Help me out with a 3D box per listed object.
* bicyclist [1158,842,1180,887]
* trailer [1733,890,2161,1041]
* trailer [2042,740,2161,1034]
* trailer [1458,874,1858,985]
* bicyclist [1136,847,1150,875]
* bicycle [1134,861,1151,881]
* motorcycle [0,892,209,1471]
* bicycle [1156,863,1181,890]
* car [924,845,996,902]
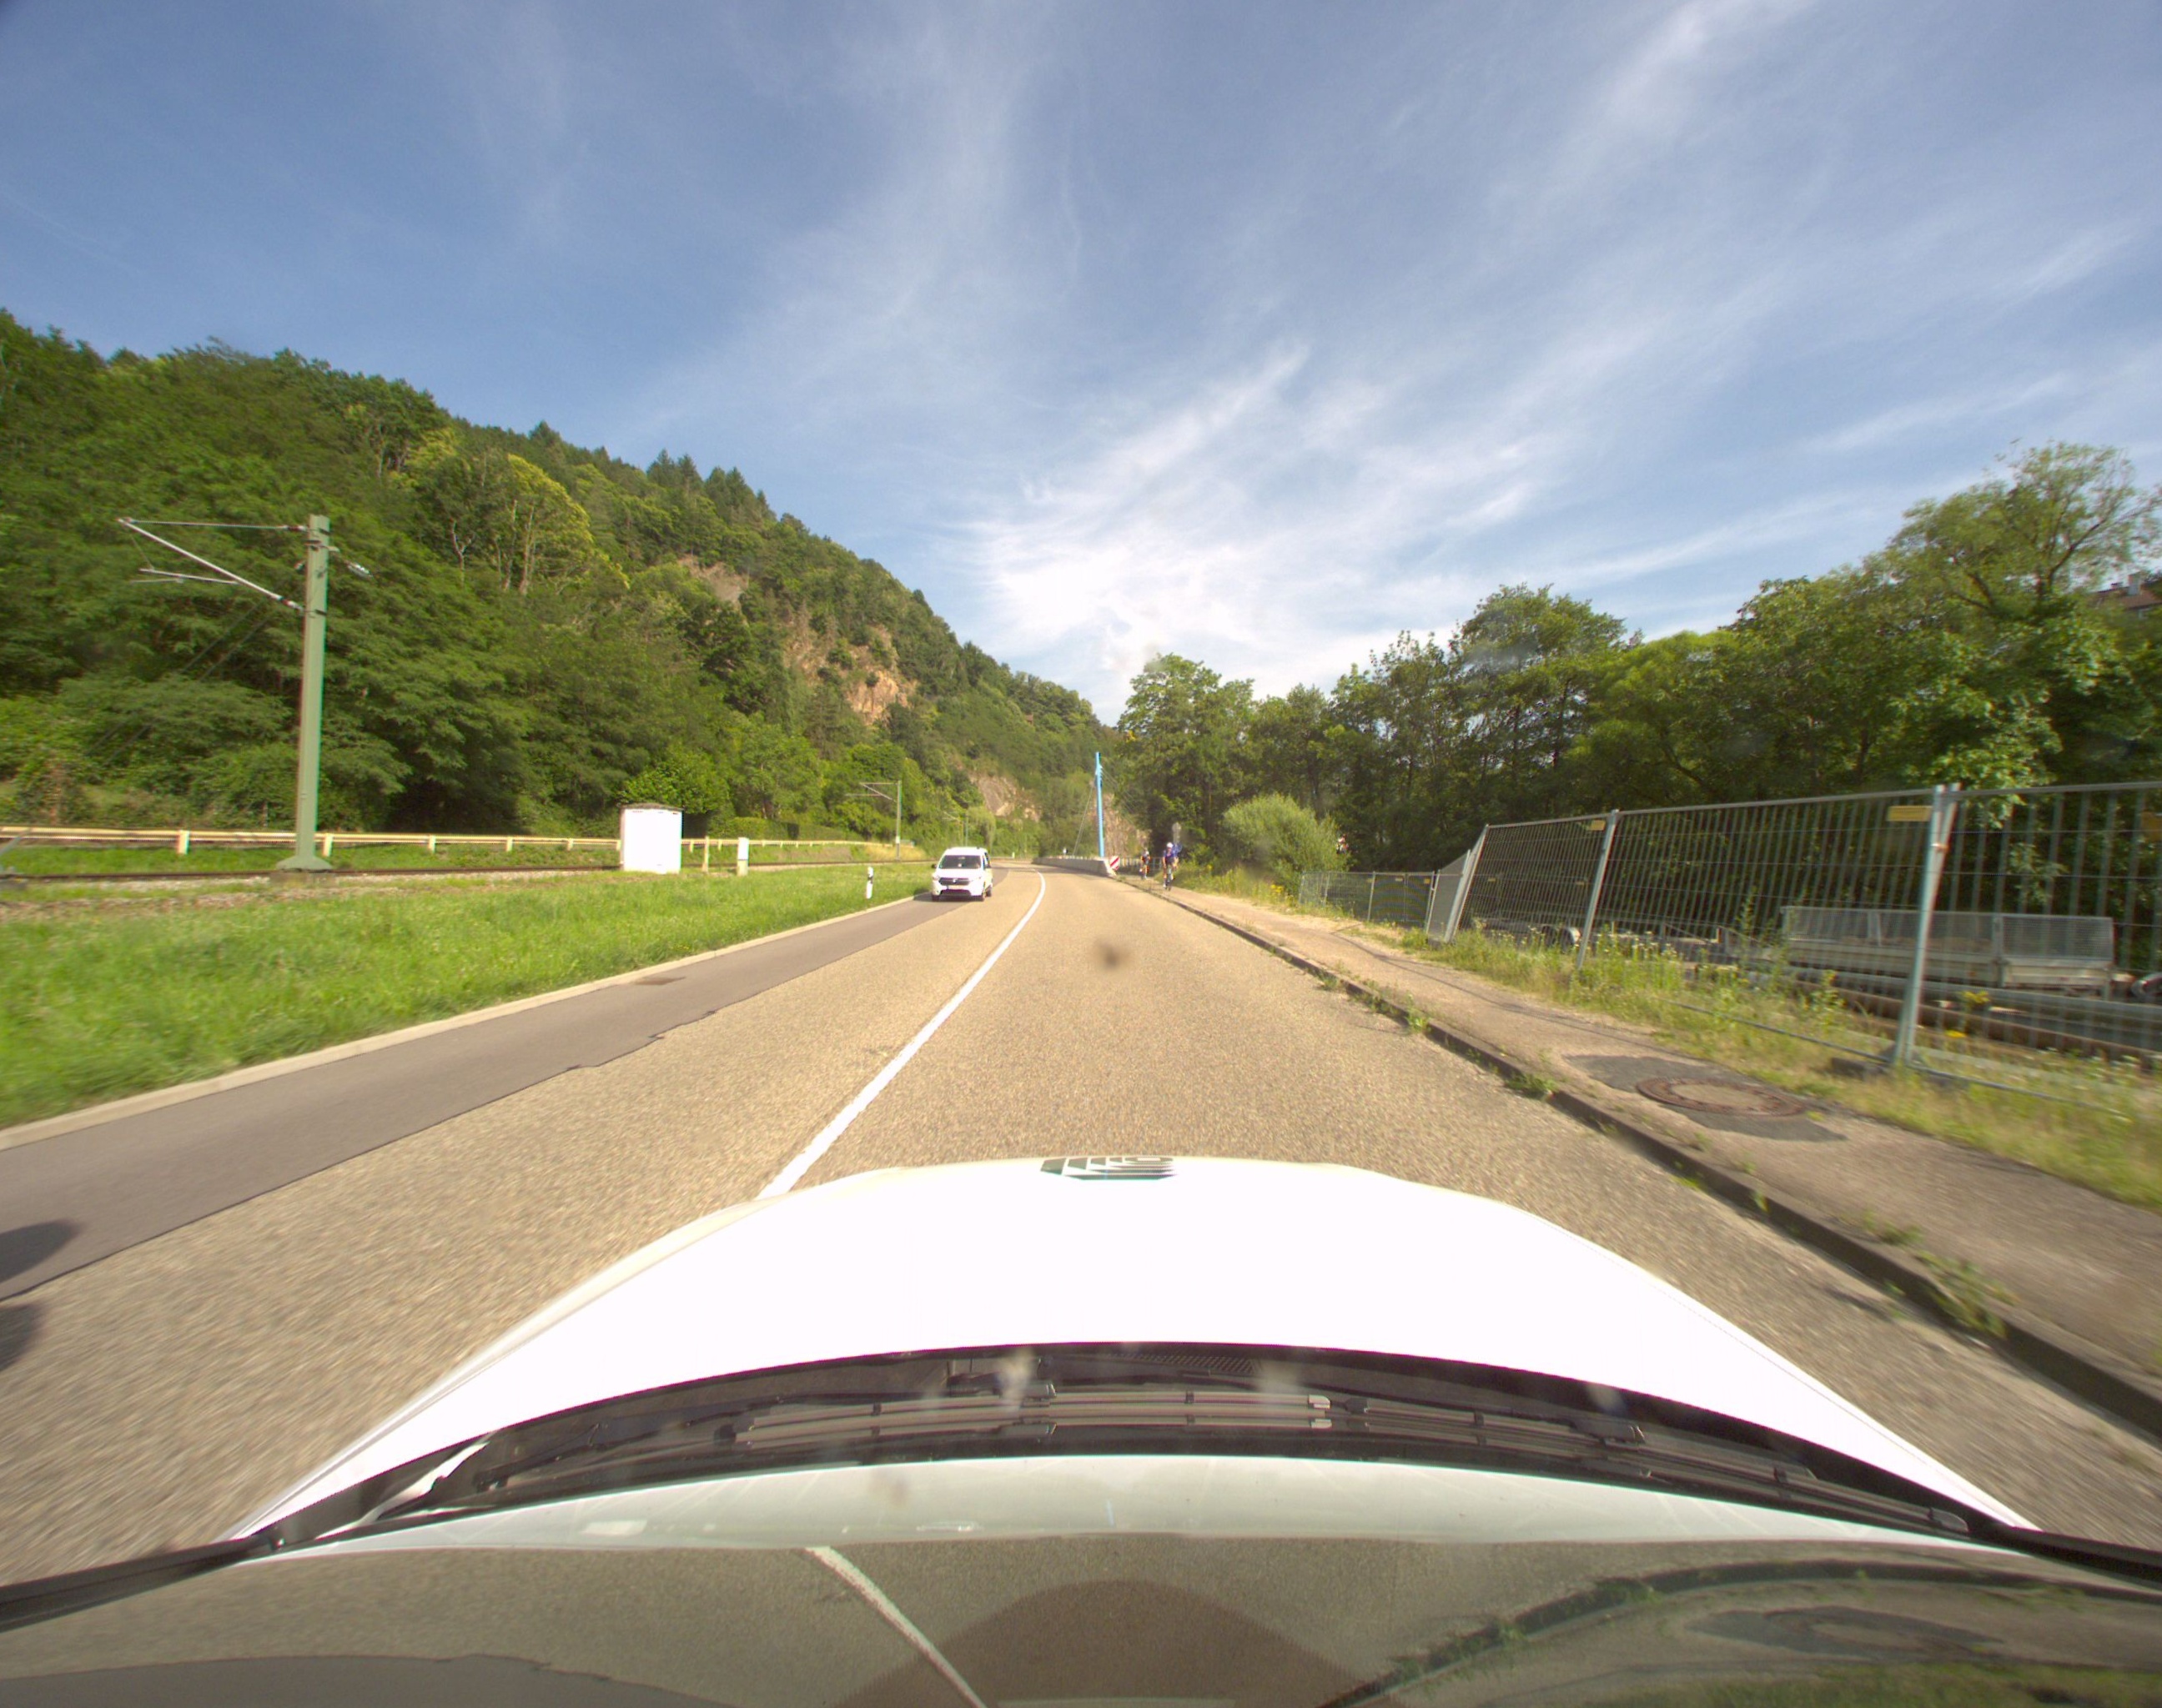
[{"bbox_3d":[3.361,0.390,31.245,0.639,1.654,0.807,3,0,-3],"label":"bicyclist"},{"bbox_3d":[13.677,1.603,13.257,2.051,1.823,4.783,2,-1,-5],"label":"trailer"},{"bbox_3d":[17.522,0.476,8.404,3.357,4.274,9.899,2,-1,-2],"label":"trailer"},{"bbox_3d":[14.084,1.637,21.845,2.382,2.014,11.492,2,-1,-1],"label":"trailer"},{"bbox_3d":[3.195,0.373,42.035,0.591,1.401,0.761,3,0,-3],"label":"bicyclist"},{"bbox_3d":[3.168,0.869,42.055,0.598,0.916,1.846,3,0,-2],"label":"bicycle"},{"bbox_3d":[-3.116,0.821,1.245,0.858,1.383,2.406,0,0,4],"label":"motorcycle"},{"bbox_3d":[3.336,0.841,31.257,0.646,0.942,1.846,3,0,-2],"label":"bicycle"},{"bbox_3d":[-4.072,0.604,28.110,1.865,1.781,4.597,-1,0,-1],"label":"car"}]
